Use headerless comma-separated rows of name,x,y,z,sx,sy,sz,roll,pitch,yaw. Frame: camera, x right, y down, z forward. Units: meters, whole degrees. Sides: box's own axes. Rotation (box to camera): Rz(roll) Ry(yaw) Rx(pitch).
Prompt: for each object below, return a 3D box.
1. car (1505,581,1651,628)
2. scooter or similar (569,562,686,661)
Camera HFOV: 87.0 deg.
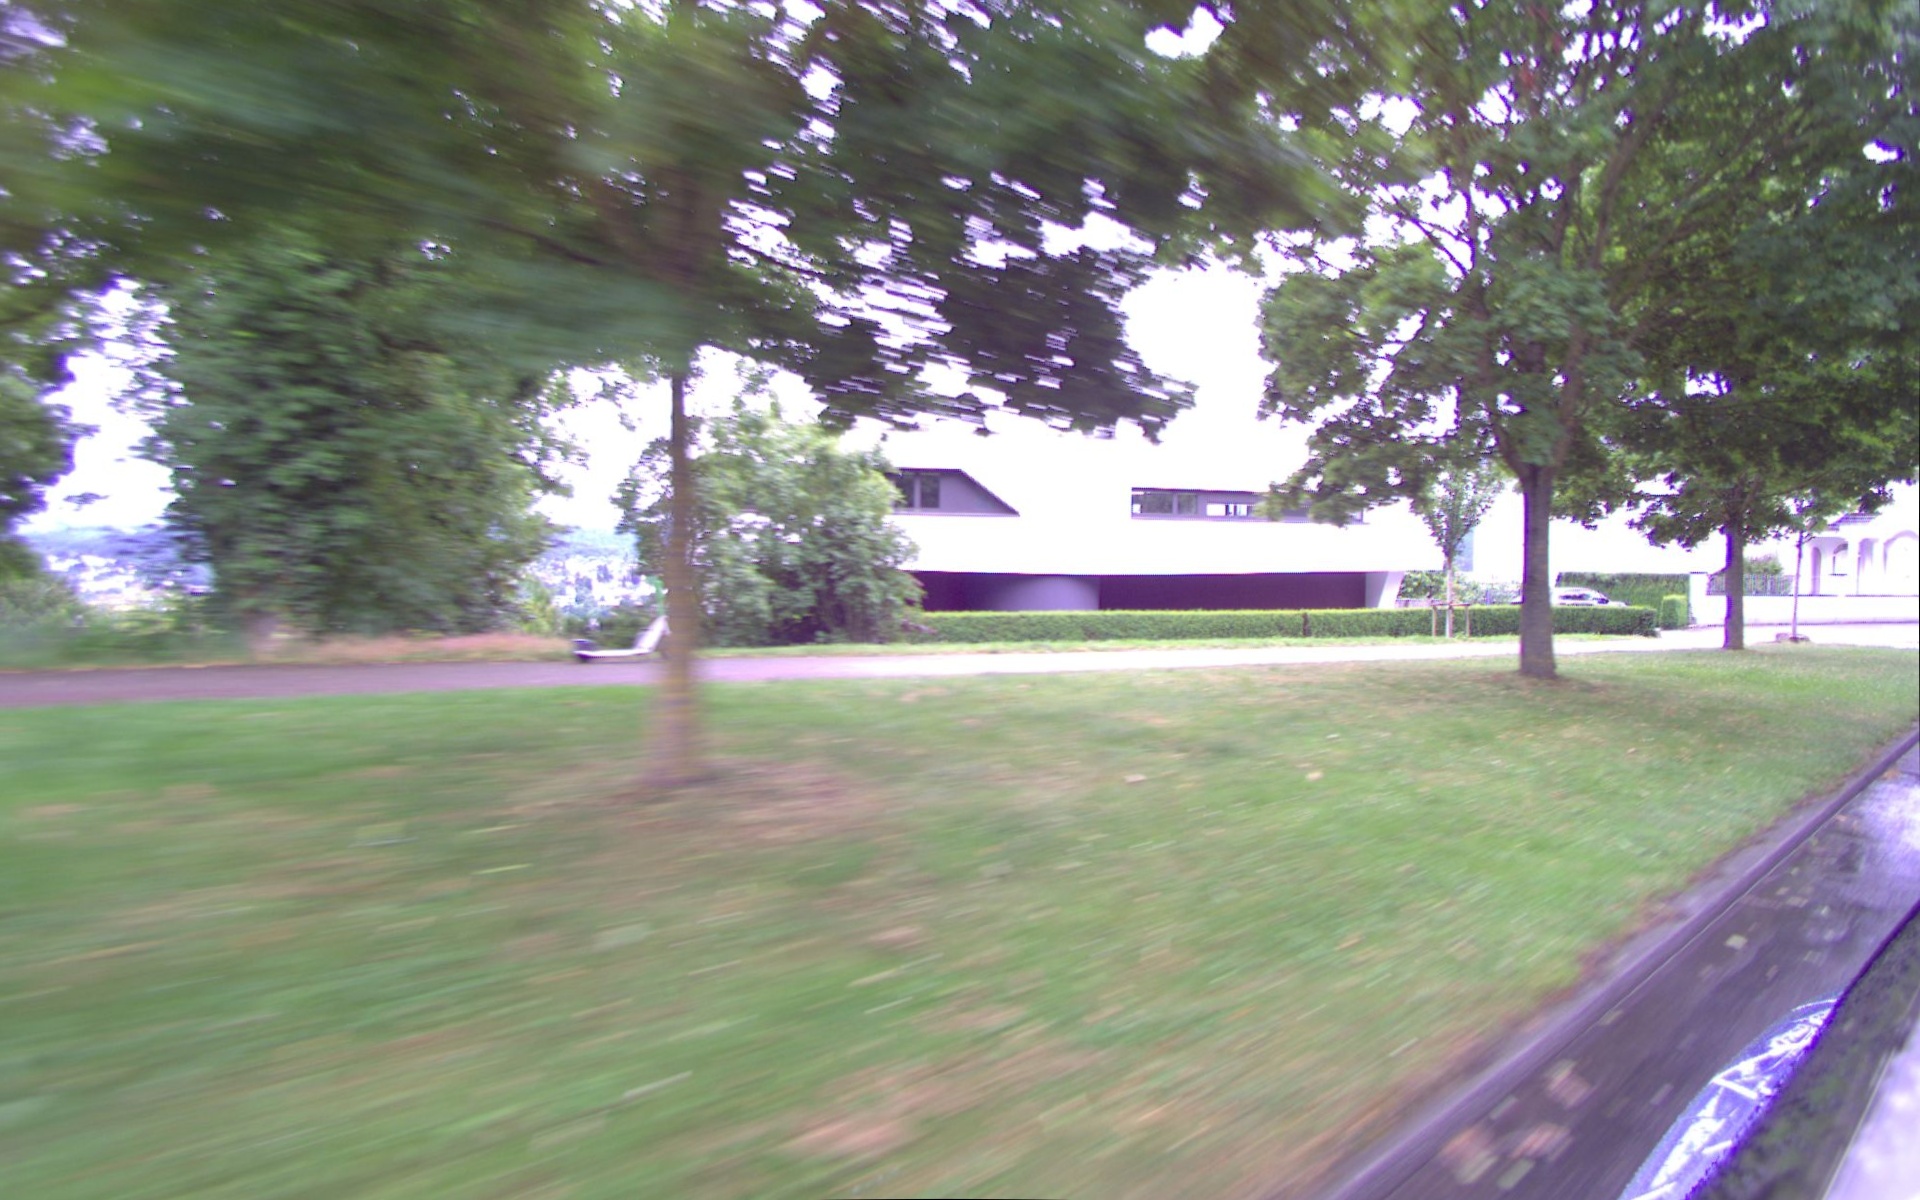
car,21.749,0.137,35.657,4.366,1.570,1.931,-1,0,-16
scooter or similar,-4.092,0.133,12.486,1.275,1.160,0.465,0,3,-33
